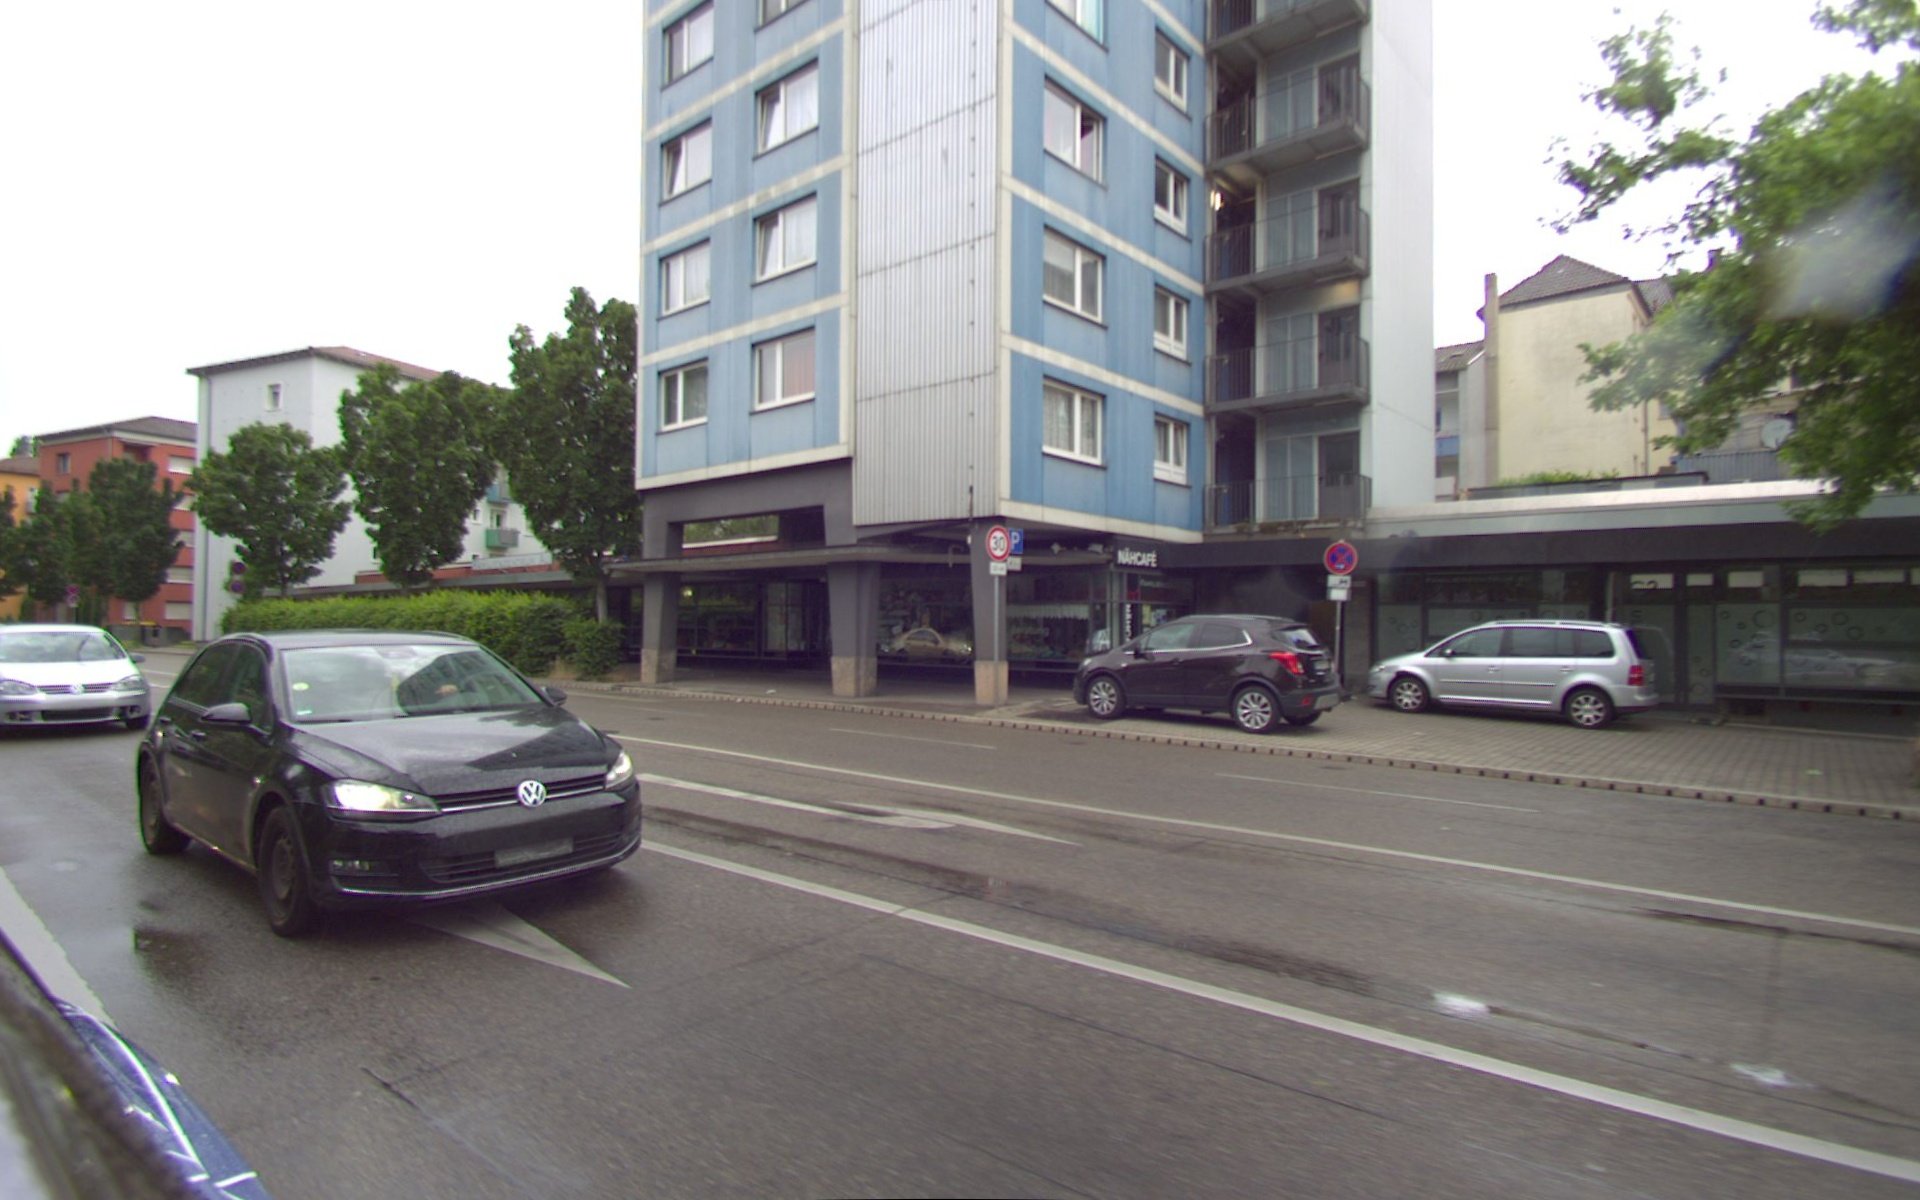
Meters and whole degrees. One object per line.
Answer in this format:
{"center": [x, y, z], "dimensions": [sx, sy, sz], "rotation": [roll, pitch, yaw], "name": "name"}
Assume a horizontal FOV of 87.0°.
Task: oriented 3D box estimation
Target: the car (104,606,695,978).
{"center": [-3.488, 0.837, 5.987], "dimensions": [3.997, 1.464, 1.737], "rotation": [-2, -4, 41], "name": "car"}

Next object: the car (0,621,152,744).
{"center": [-12.838, 1.049, 14.051], "dimensions": [4.158, 1.498, 1.726], "rotation": [-1, -3, 40], "name": "car"}

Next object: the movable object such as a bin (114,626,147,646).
{"center": [-55.661, 2.436, 67.913], "dimensions": [1.961, 1.341, 1.147], "rotation": [-1, -3, 34], "name": "movable object such as a bin"}

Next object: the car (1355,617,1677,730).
{"center": [9.335, 1.126, 17.185], "dimensions": [4.507, 1.667, 1.973], "rotation": [-1, -2, 40], "name": "car"}

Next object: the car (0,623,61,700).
{"center": [-20.102, 1.217, 20.648], "dimensions": [4.584, 1.475, 2.045], "rotation": [-2, -2, 41], "name": "car"}

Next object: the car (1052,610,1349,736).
{"center": [3.615, 1.029, 15.730], "dimensions": [4.284, 1.719, 1.523], "rotation": [-1, -1, 41], "name": "car"}

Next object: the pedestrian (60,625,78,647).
{"center": [-61.041, 2.466, 69.363], "dimensions": [0.833, 1.460, 0.666], "rotation": [-1, -3, 31], "name": "pedestrian"}

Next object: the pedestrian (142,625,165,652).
{"center": [-46.321, 2.221, 58.118], "dimensions": [1.066, 1.529, 0.687], "rotation": [-1, -3, 31], "name": "pedestrian"}

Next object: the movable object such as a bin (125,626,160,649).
{"center": [-53.866, 2.450, 66.689], "dimensions": [2.082, 1.496, 1.205], "rotation": [-1, -3, 34], "name": "movable object such as a bin"}
